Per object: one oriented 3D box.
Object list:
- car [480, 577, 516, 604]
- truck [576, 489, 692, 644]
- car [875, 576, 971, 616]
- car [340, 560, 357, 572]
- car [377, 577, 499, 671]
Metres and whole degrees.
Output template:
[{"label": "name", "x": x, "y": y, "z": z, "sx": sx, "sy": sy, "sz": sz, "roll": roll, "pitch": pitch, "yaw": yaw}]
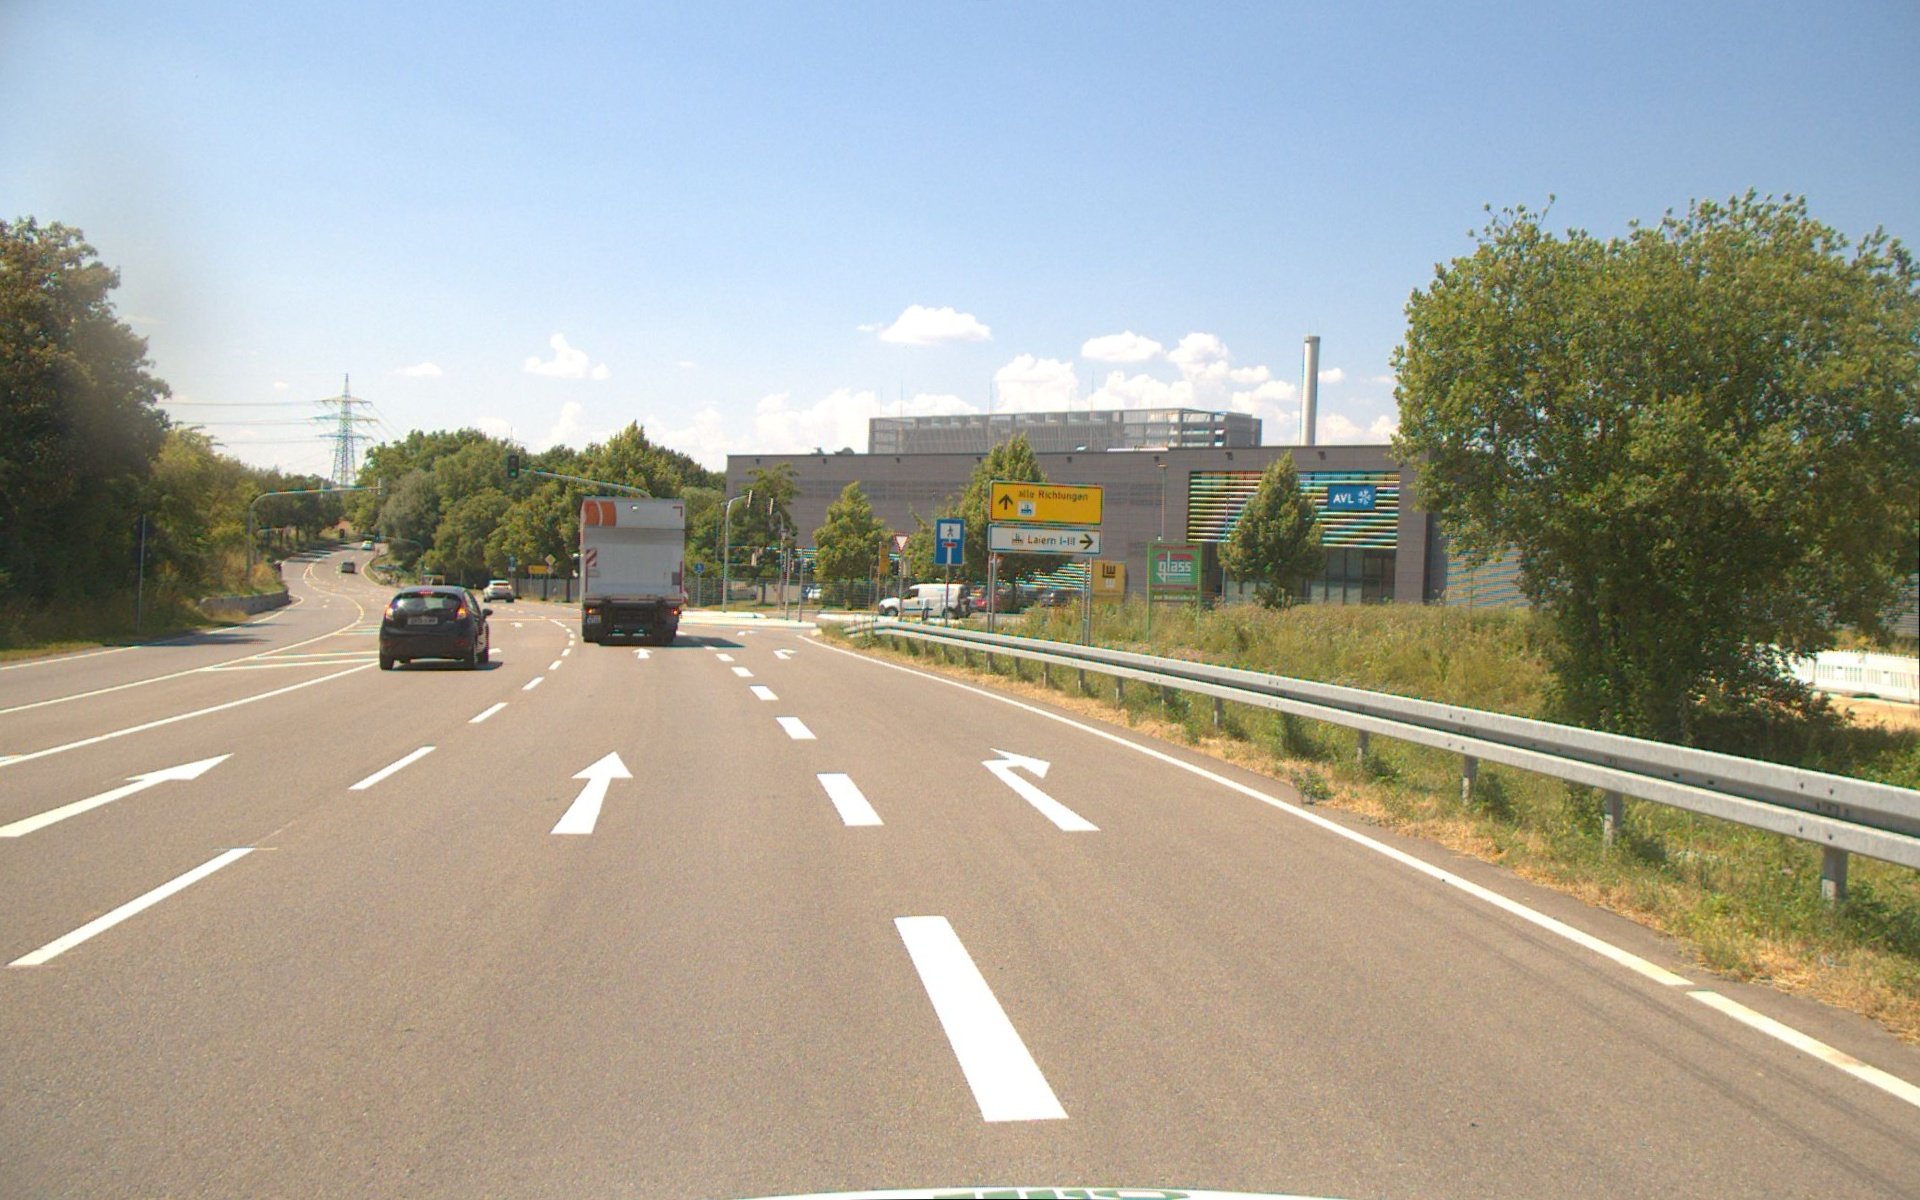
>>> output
[{"label": "car", "x": -32.311, "y": -0.649, "z": 115.673, "sx": 1.917, "sy": 1.693, "sz": 3.974, "roll": 4, "pitch": 0, "yaw": -22}, {"label": "truck", "x": -9.013, "y": -0.924, "z": 45.353, "sx": 2.754, "sy": 3.775, "sz": 9.081, "roll": 1, "pitch": 1, "yaw": -12}, {"label": "car", "x": -1.905, "y": -0.215, "z": 86.470, "sx": 4.644, "sy": 1.966, "sz": 2.155, "roll": 1, "pitch": 0, "yaw": 11}, {"label": "car", "x": -85.876, "y": -4.763, "z": 232.182, "sx": 1.962, "sy": 1.713, "sz": 3.981, "roll": 1, "pitch": 0, "yaw": -17}, {"label": "car", "x": -9.686, "y": 0.399, "z": 30.925, "sx": 1.623, "sy": 1.519, "sz": 4.198, "roll": 1, "pitch": 2, "yaw": -10}]
